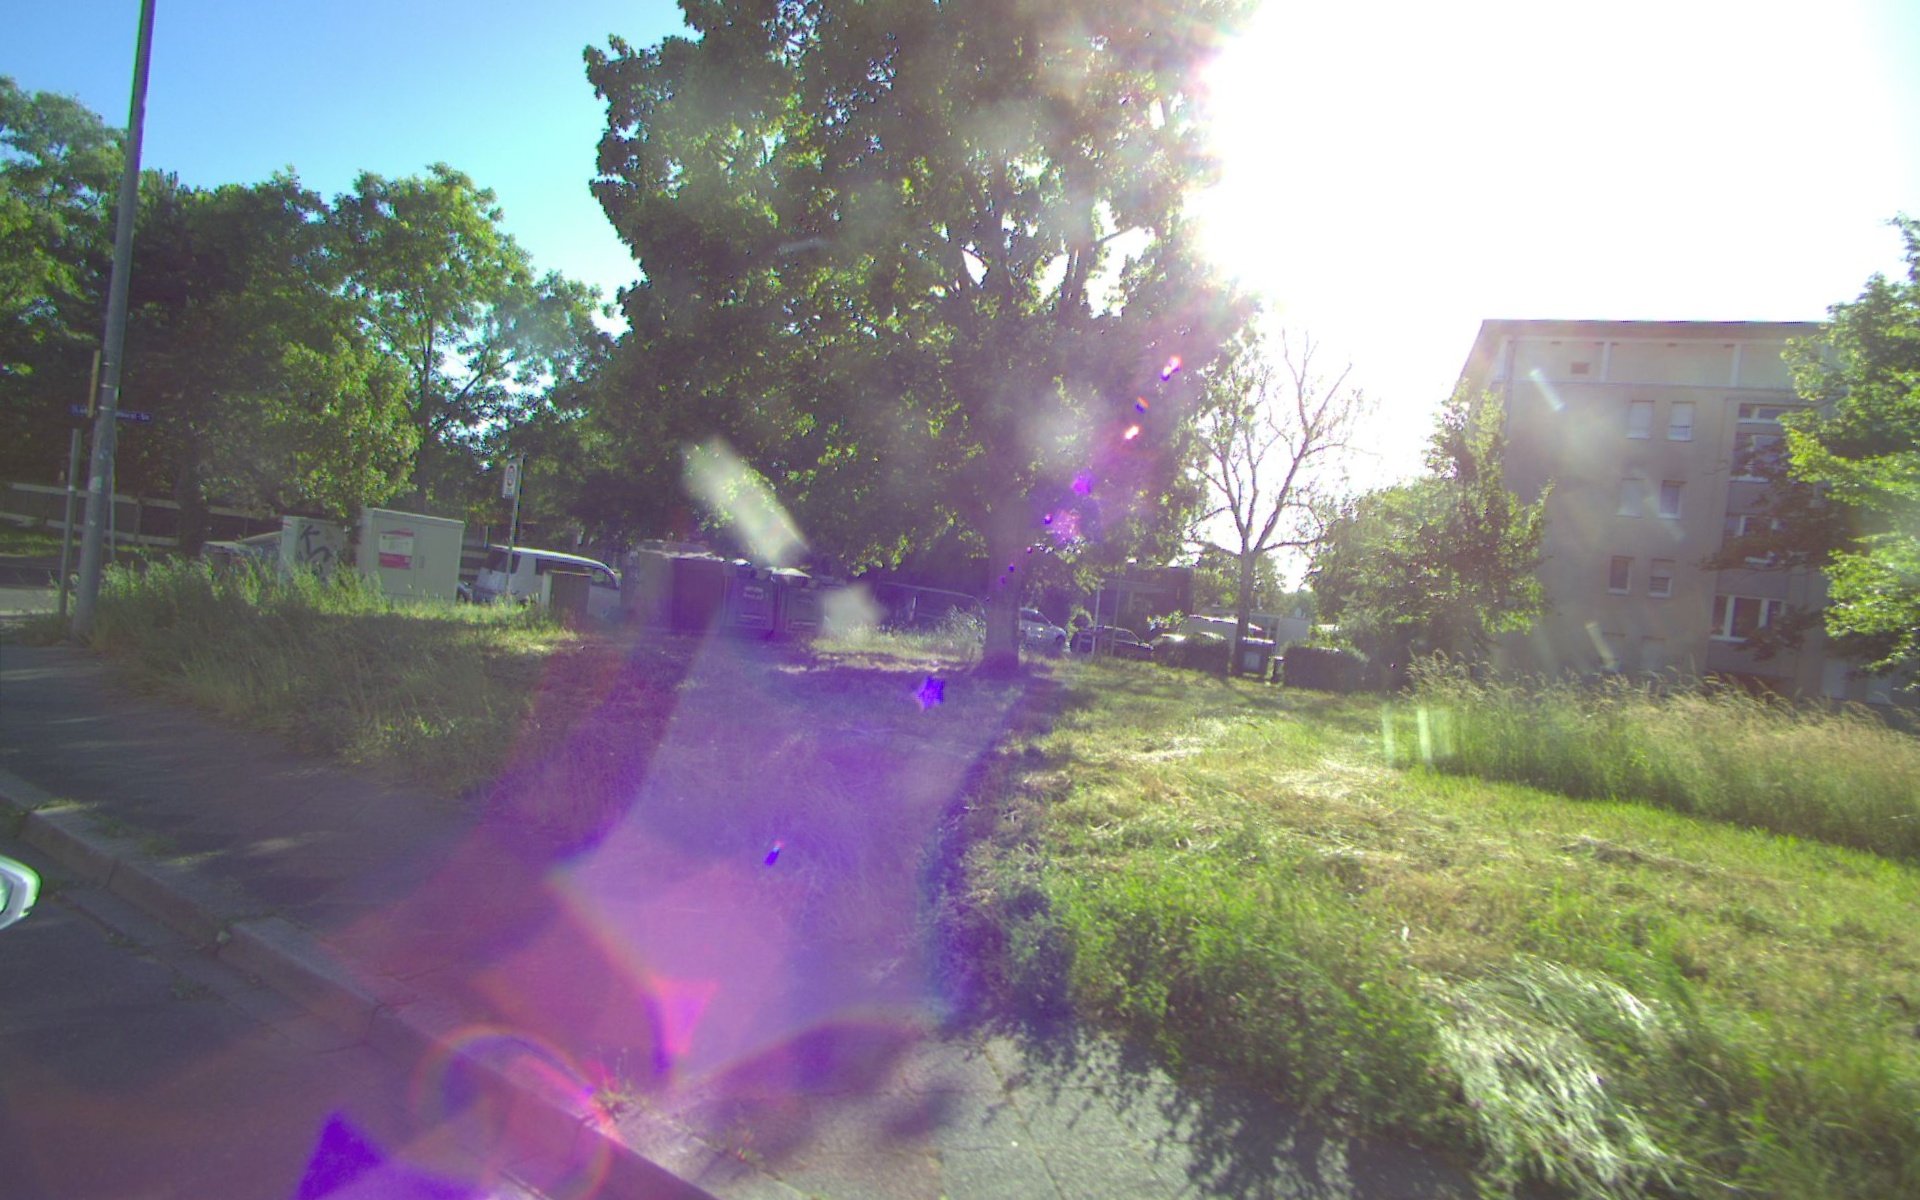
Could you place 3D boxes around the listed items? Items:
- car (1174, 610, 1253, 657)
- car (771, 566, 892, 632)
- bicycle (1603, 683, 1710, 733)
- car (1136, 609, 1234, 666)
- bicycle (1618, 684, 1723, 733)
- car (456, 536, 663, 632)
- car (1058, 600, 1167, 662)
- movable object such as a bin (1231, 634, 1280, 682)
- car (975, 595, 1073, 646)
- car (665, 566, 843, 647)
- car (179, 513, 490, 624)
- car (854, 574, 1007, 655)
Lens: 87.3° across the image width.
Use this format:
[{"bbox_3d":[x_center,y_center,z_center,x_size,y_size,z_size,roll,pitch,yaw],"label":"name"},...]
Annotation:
[{"bbox_3d":[15.006,1.995,59.295,2.236,2.290,5.051,7,1,42],"label":"car"},{"bbox_3d":[-4.607,-0.002,36.411,1.972,1.874,3.859,8,0,42],"label":"car"},{"bbox_3d":[22.768,3.523,32.932,2.645,1.220,0.940,7,1,6],"label":"bicycle"},{"bbox_3d":[10.109,1.709,45.002,2.137,2.037,4.494,8,1,43],"label":"car"},{"bbox_3d":[23.770,3.634,33.711,2.645,1.220,0.940,7,1,6],"label":"bicycle"},{"bbox_3d":[-8.656,-0.307,21.953,1.802,1.597,3.681,8,0,39],"label":"car"},{"bbox_3d":[6.197,1.282,40.472,2.135,2.037,4.498,8,1,40],"label":"car"},{"bbox_3d":[10.825,2.117,36.808,1.508,1.528,1.391,7,1,20],"label":"movable object such as a bin"},{"bbox_3d":[2.931,0.937,45.048,1.971,1.830,4.448,8,1,40],"label":"car"},{"bbox_3d":[-5.236,0.212,26.024,1.943,1.561,4.101,9,1,38],"label":"car"},{"bbox_3d":[-11.254,-0.506,18.406,1.719,1.354,4.426,9,0,36],"label":"car"},{"bbox_3d":[-0.867,0.504,31.817,2.241,2.037,4.498,8,1,40],"label":"car"}]
